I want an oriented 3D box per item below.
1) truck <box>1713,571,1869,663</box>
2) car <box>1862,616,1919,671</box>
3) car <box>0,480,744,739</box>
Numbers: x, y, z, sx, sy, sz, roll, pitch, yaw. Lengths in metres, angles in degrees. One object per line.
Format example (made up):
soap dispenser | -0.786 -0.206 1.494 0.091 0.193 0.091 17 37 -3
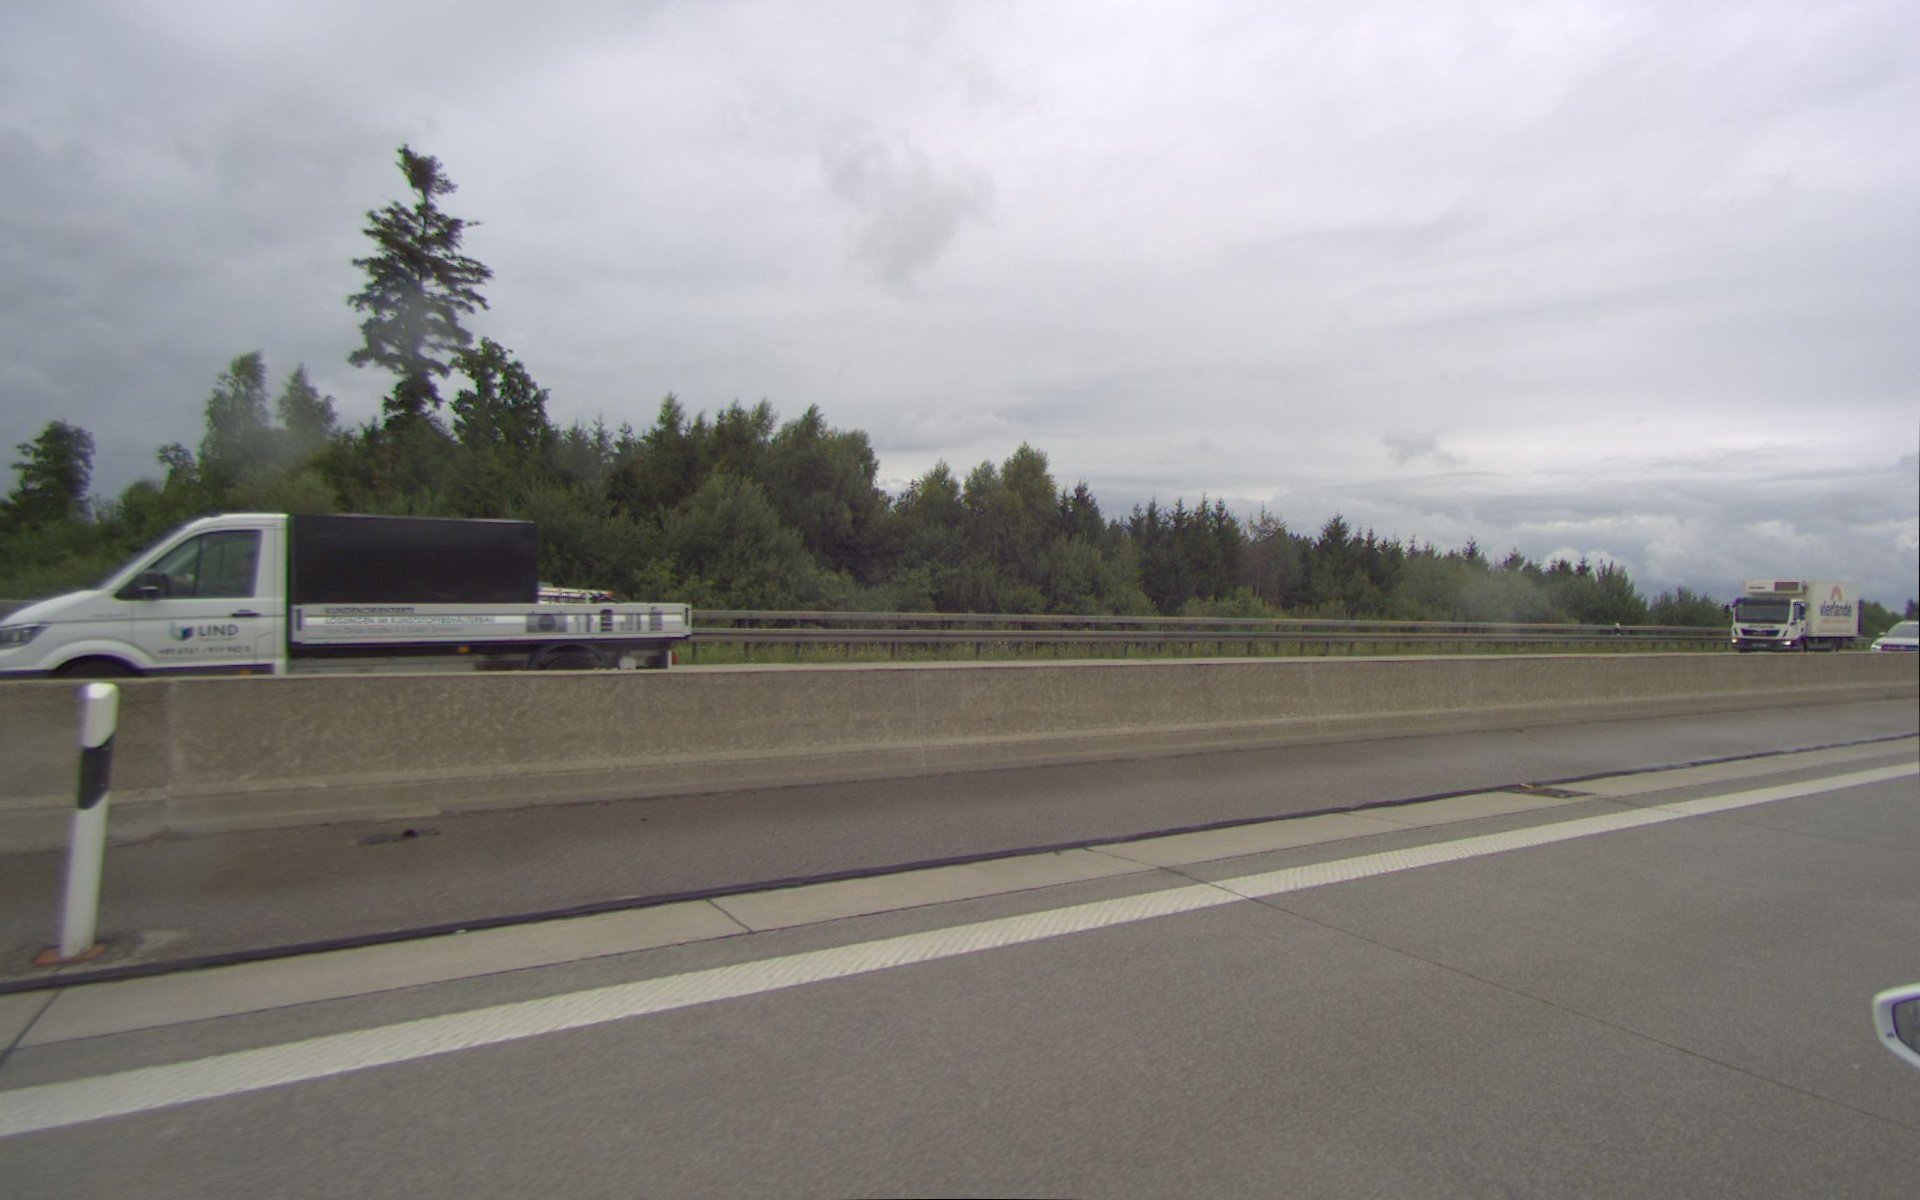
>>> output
truck | 38.479 0.795 46.398 8.800 3.915 2.883 1 0 -32
car | 29.963 1.354 31.153 4.448 1.587 1.733 1 0 -31
car | -6.675 0.157 12.321 7.428 2.432 2.608 1 0 -30
